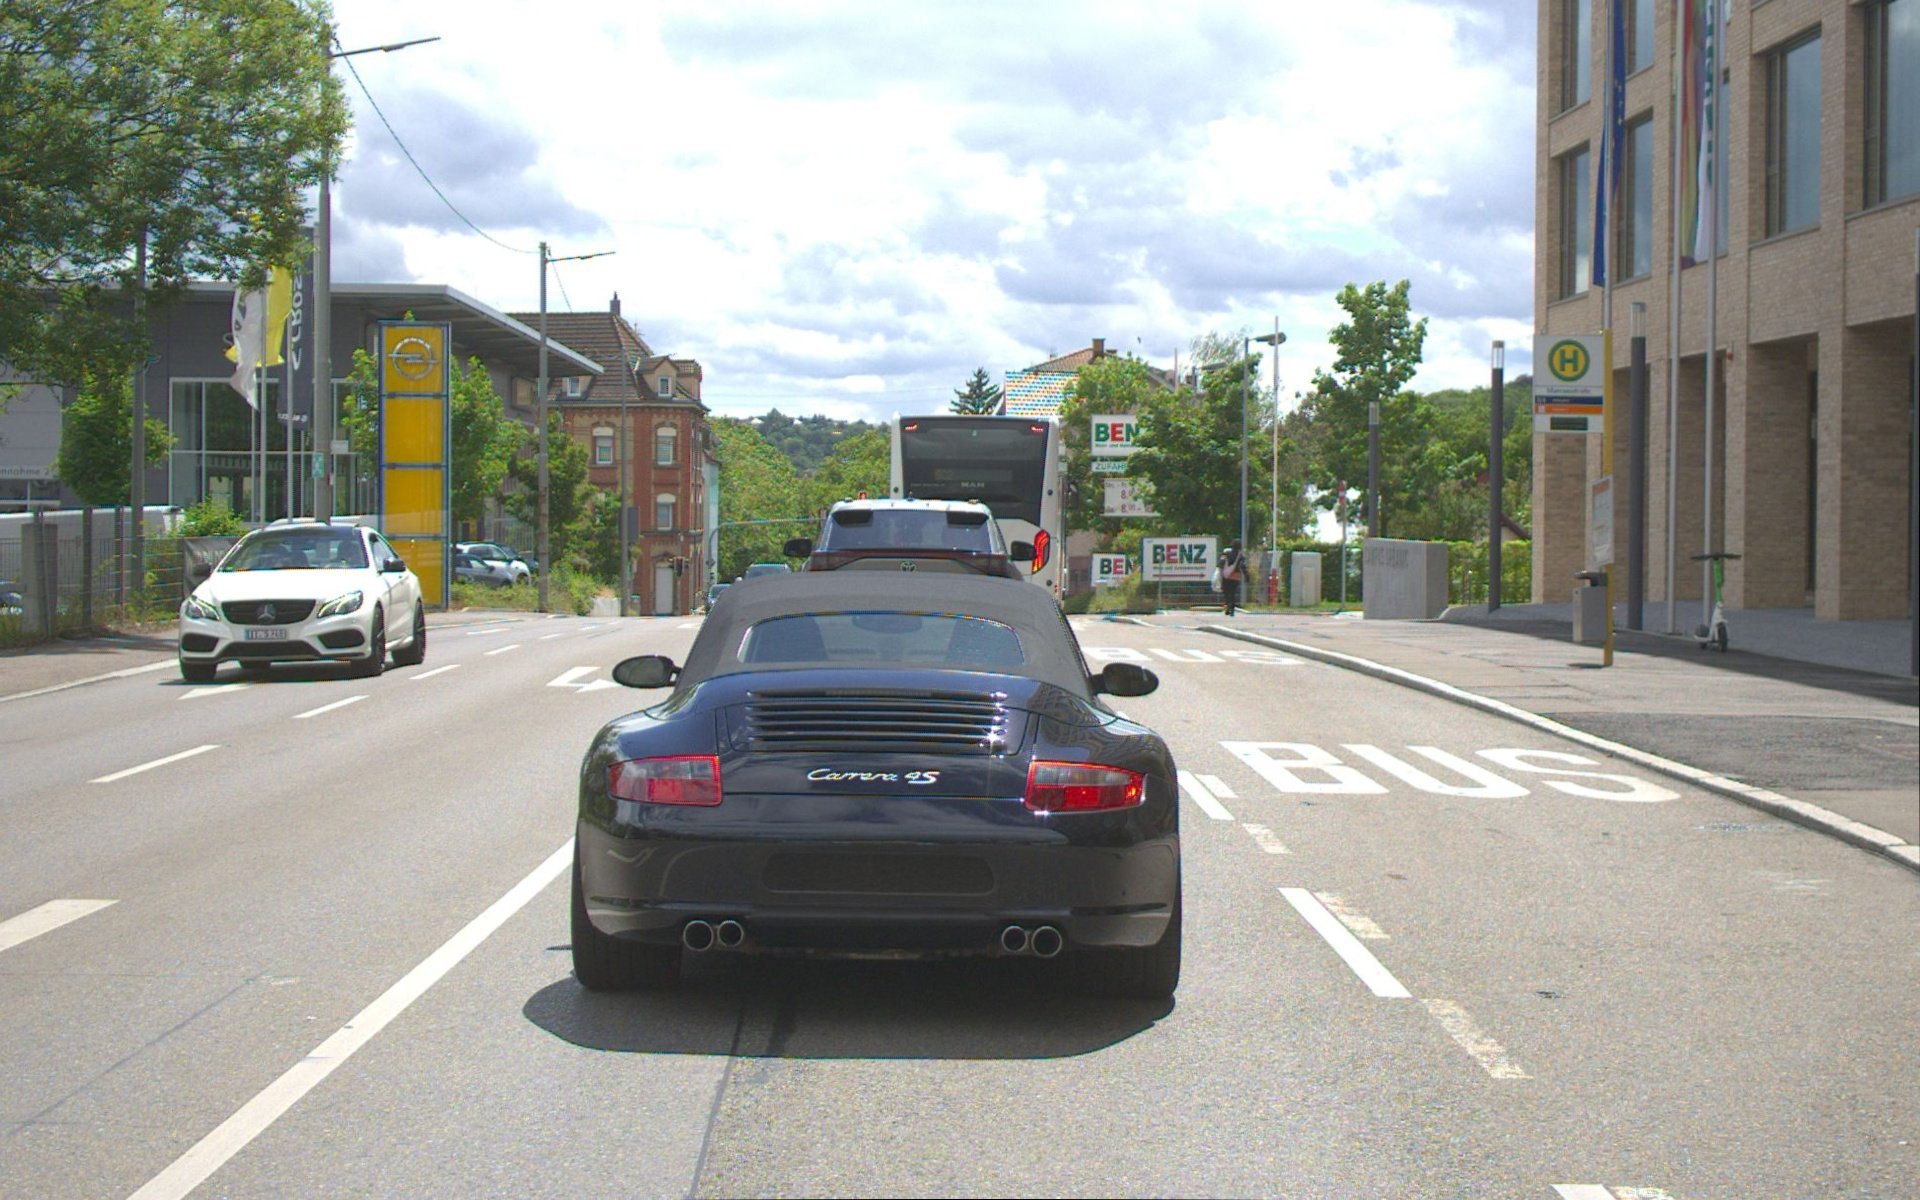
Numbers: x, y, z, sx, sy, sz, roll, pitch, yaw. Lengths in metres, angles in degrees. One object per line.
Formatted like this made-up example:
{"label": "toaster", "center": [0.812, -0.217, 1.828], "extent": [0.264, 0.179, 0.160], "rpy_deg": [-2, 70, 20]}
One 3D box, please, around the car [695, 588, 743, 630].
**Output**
{"label": "car", "center": [-9.555, 0.341, 136.587], "extent": [1.743, 1.590, 4.043], "rpy_deg": [-2, 0, -2]}

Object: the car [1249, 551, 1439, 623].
{"label": "car", "center": [10.392, -0.346, 93.118], "extent": [4.706, 1.842, 2.089], "rpy_deg": [-1, -1, -8]}

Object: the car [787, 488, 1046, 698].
{"label": "car", "center": [-0.432, -0.099, 28.195], "extent": [1.930, 1.577, 4.209], "rpy_deg": [1, 1, -3]}

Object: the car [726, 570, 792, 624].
{"label": "car", "center": [-5.707, -0.068, 97.832], "extent": [1.829, 1.504, 4.277], "rpy_deg": [0, 0, -3]}

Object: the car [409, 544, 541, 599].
{"label": "car", "center": [-14.623, -0.855, 103.879], "extent": [1.933, 1.567, 4.548], "rpy_deg": [0, -1, 22]}

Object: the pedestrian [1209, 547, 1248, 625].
{"label": "pedestrian", "center": [5.297, -0.278, 67.872], "extent": [0.687, 1.531, 0.856], "rpy_deg": [0, 0, -1]}

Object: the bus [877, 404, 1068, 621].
{"label": "bus", "center": [0.225, -1.470, 57.114], "extent": [2.802, 3.187, 12.196], "rpy_deg": [1, 2, 0]}

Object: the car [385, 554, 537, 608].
{"label": "car", "center": [-14.309, -0.561, 98.776], "extent": [1.897, 1.445, 4.825], "rpy_deg": [1, 2, 27]}

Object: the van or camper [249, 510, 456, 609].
{"label": "van or camper", "center": [-15.895, -1.072, 90.155], "extent": [5.026, 2.522, 2.318], "rpy_deg": [1, 1, -1]}

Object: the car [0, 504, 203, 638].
{"label": "car", "center": [-14.049, -0.478, 53.406], "extent": [4.160, 2.007, 2.199], "rpy_deg": [1, 1, -3]}

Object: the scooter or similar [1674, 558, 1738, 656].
{"label": "scooter or similar", "center": [8.865, 0.072, 40.894], "extent": [0.427, 1.149, 1.404], "rpy_deg": [0, 1, -1]}

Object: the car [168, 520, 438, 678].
{"label": "car", "center": [-6.225, -0.054, 33.006], "extent": [1.796, 1.372, 4.225], "rpy_deg": [-1, 2, 0]}

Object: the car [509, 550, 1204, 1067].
{"label": "car", "center": [-0.292, 0.553, 11.712], "extent": [1.930, 1.372, 4.208], "rpy_deg": [1, 2, 0]}
